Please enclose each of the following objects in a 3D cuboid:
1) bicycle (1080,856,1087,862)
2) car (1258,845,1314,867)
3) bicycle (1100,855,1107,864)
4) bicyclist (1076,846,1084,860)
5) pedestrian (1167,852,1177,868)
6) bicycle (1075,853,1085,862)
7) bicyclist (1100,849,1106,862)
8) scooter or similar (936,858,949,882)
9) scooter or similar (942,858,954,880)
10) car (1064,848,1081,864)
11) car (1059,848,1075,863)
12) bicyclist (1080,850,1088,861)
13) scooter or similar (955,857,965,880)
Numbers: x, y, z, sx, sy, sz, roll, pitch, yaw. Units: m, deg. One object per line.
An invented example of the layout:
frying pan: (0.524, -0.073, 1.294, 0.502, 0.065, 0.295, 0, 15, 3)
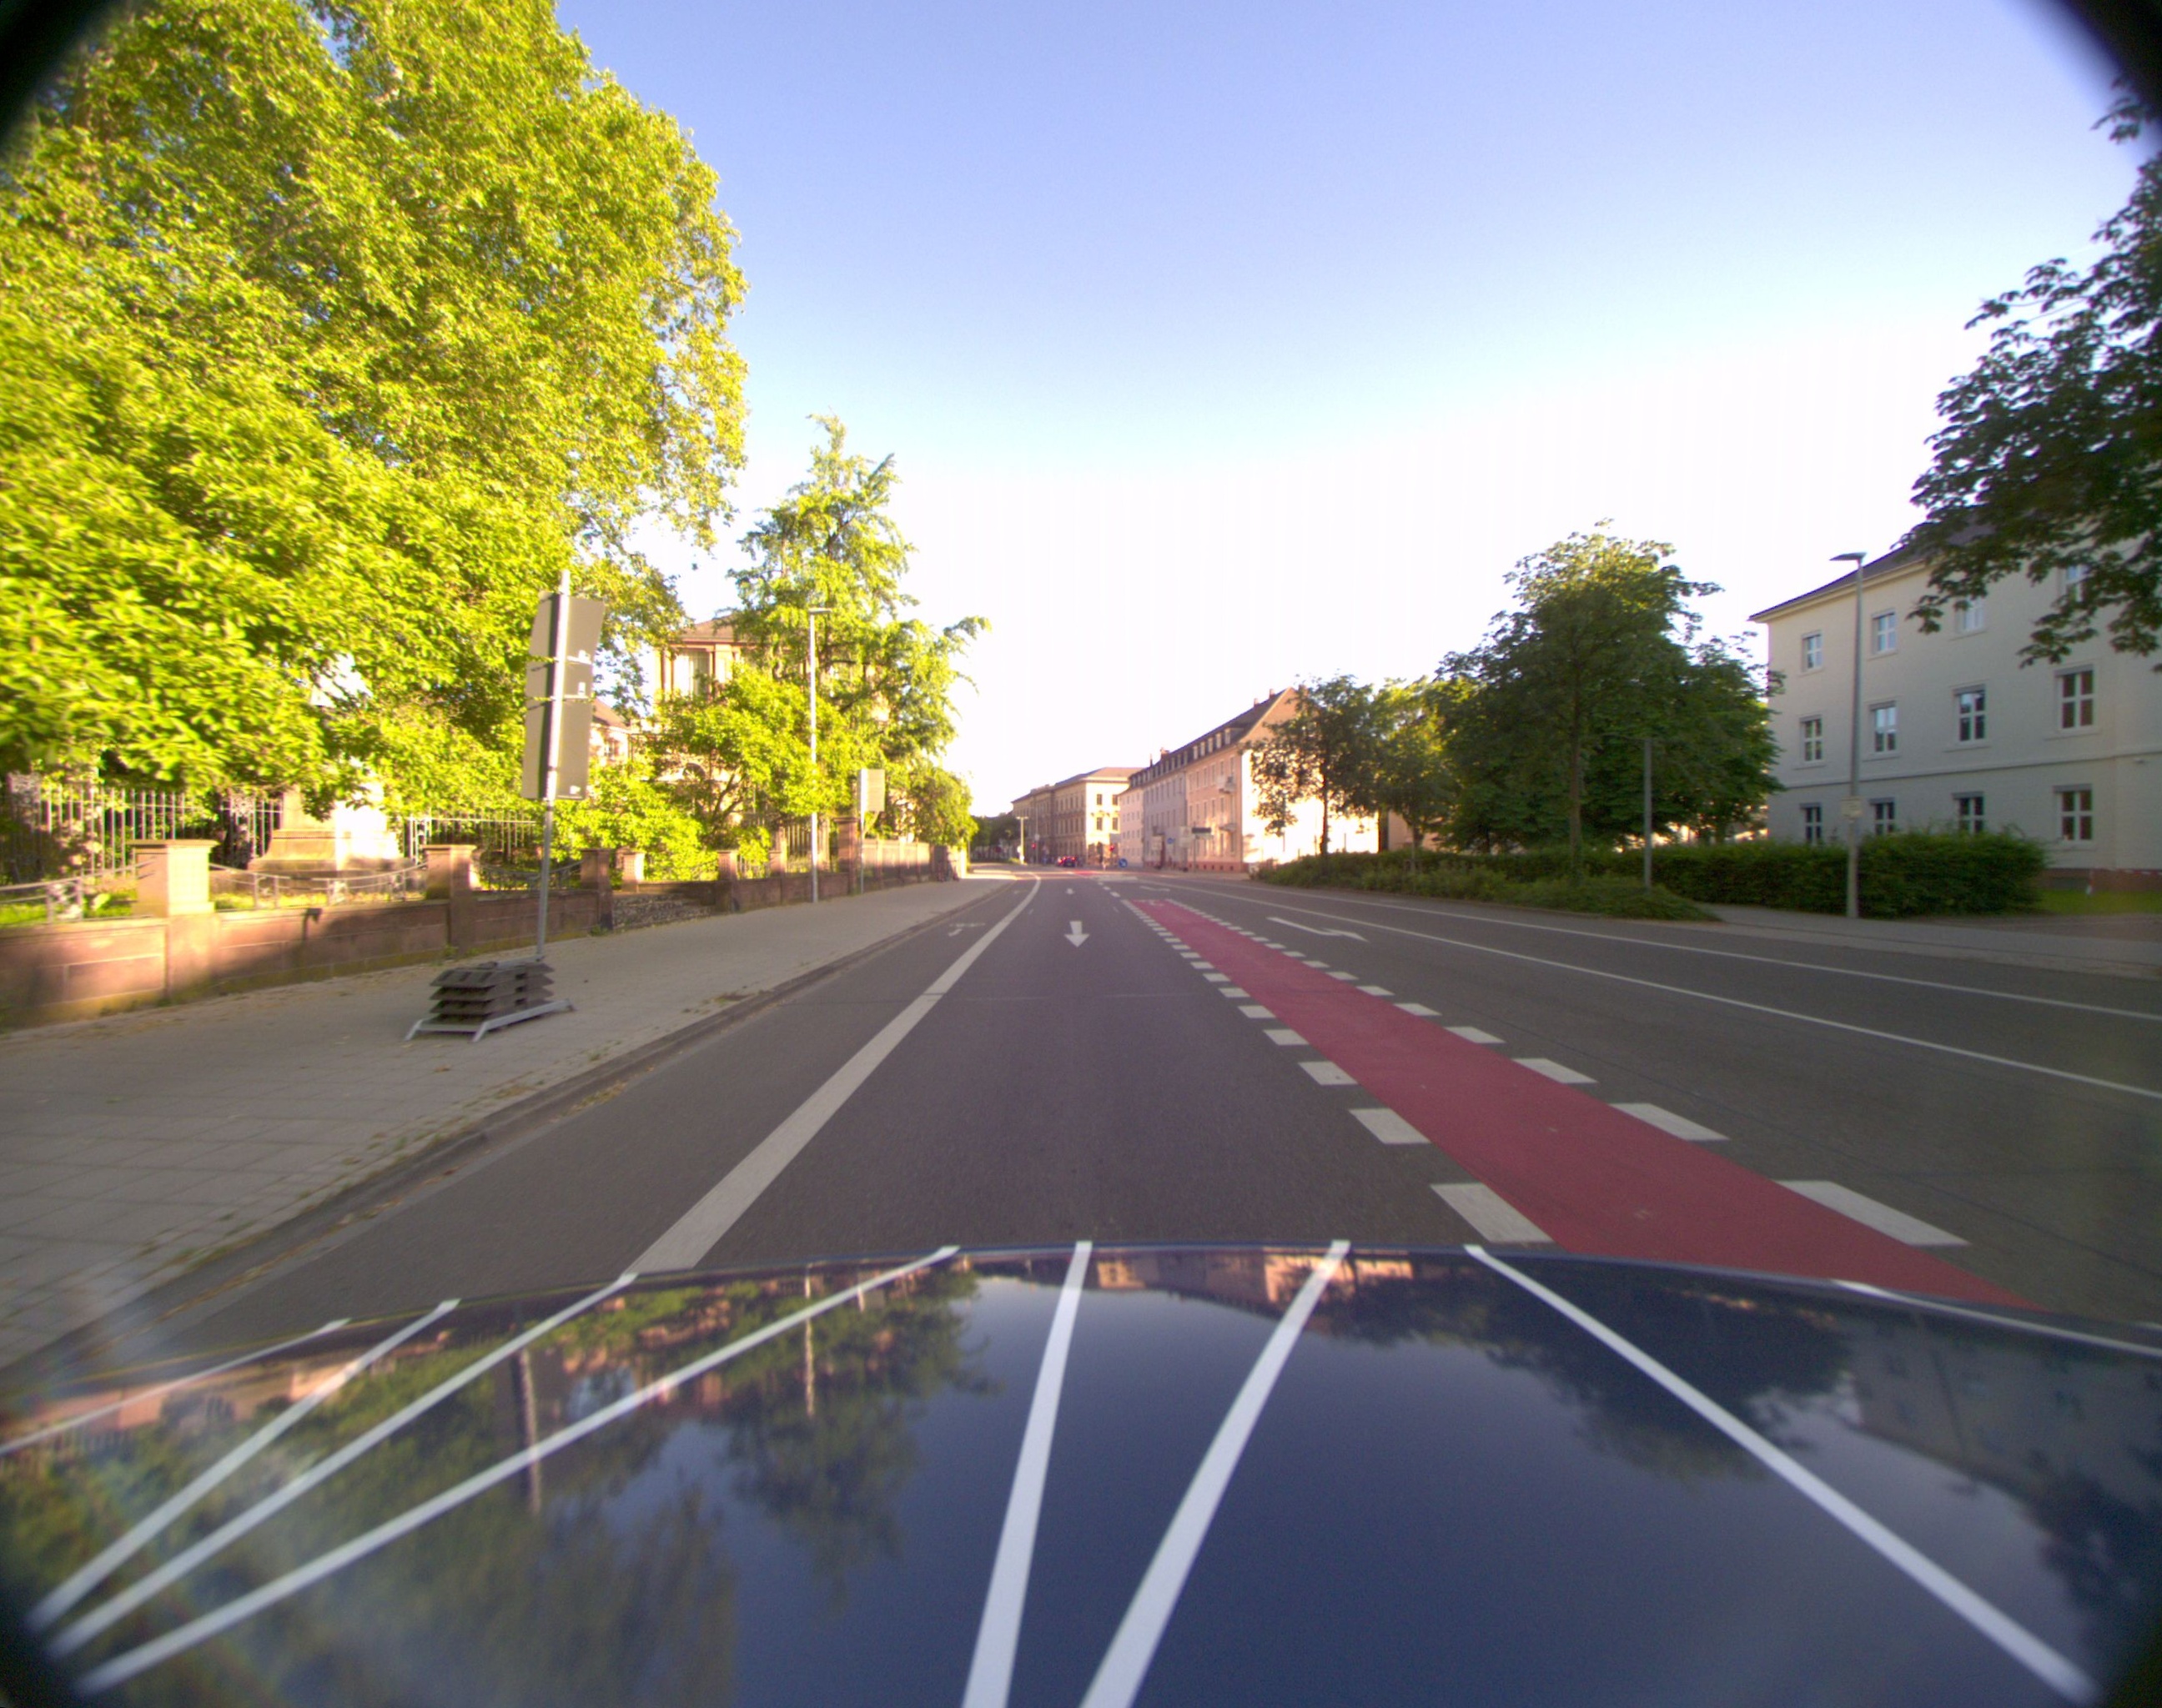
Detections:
bicycle: (0.366, 0.687, 109.436, 0.663, 0.907, 2.861, 0, 0, -9)
car: (16.946, 0.145, 62.842, 4.000, 1.652, 1.998, -2, 1, -9)
bicycle: (2.768, 0.670, 95.122, 0.697, 1.152, 2.245, 1, 0, -3)
bicyclist: (-0.122, -0.148, 114.129, 0.956, 2.002, 1.307, 0, 1, -9)
pedestrian: (10.677, 0.670, 89.337, 0.949, 1.894, 1.062, -2, 1, -7)
bicycle: (-0.145, 0.525, 114.231, 0.956, 1.216, 2.776, 0, 0, -9)
bicyclist: (2.775, 0.209, 95.129, 0.691, 1.553, 0.838, 1, 1, -3)
scooter or similar: (-7.353, 0.827, 40.223, 0.576, 1.246, 1.486, 0, 1, -15)
scooter or similar: (-7.361, 0.830, 42.075, 0.576, 1.177, 1.487, 0, 0, -7)
car: (-1.160, 0.254, 101.603, 1.999, 2.002, 3.998, 0, 0, -5)
car: (-1.961, 0.170, 107.314, 1.999, 2.002, 3.998, 0, 0, -5)
bicyclist: (0.372, 0.192, 109.360, 1.026, 1.481, 0.870, 0, 1, -9)
scooter or similar: (-6.885, 0.814, 43.155, 0.517, 1.233, 1.521, 0, 0, -11)
